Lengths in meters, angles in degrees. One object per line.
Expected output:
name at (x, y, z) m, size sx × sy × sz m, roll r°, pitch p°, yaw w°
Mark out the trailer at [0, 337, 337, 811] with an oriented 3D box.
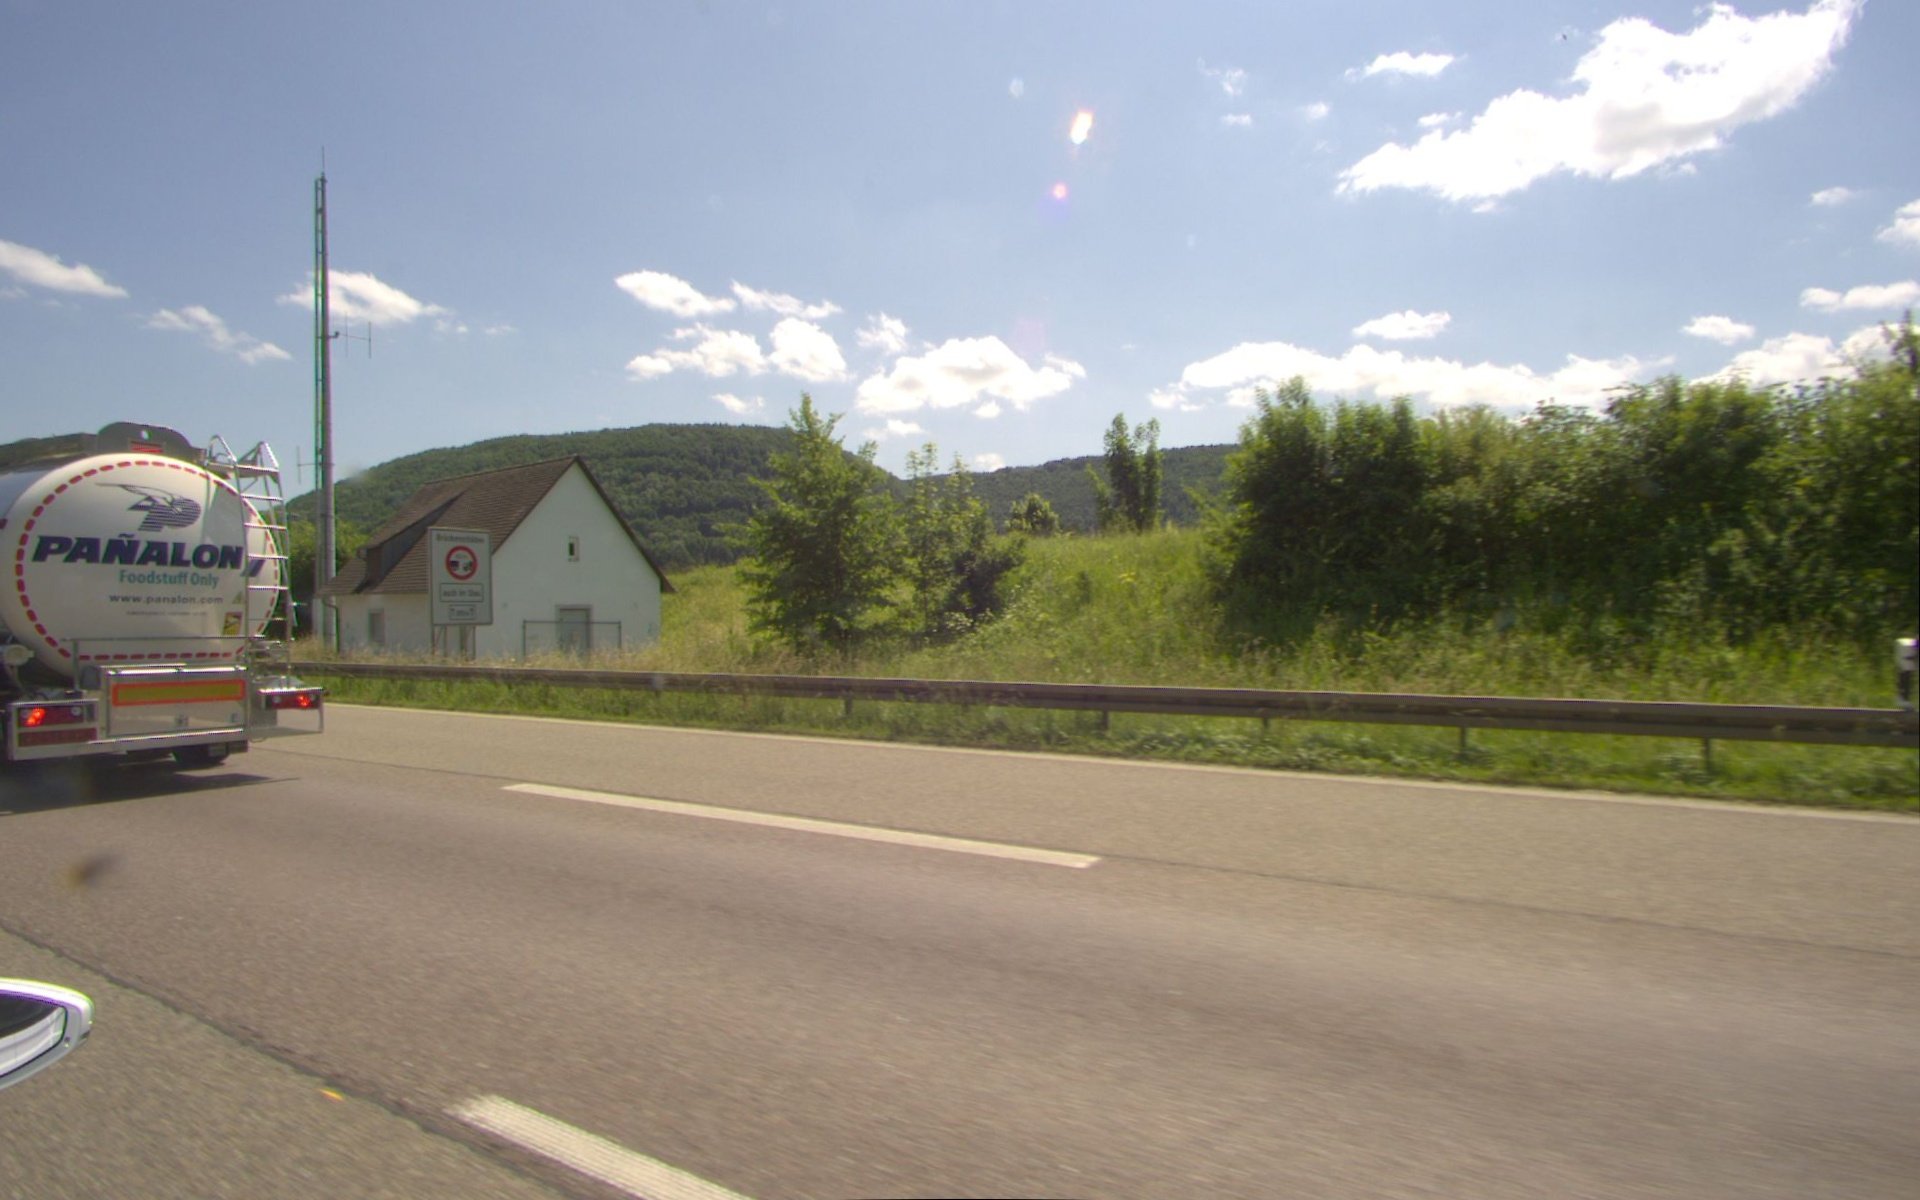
trailer at (-11.971, -0.092, 12.171) m, size 11.719 × 3.783 × 2.534 m, roll -1°, pitch -1°, yaw 32°
